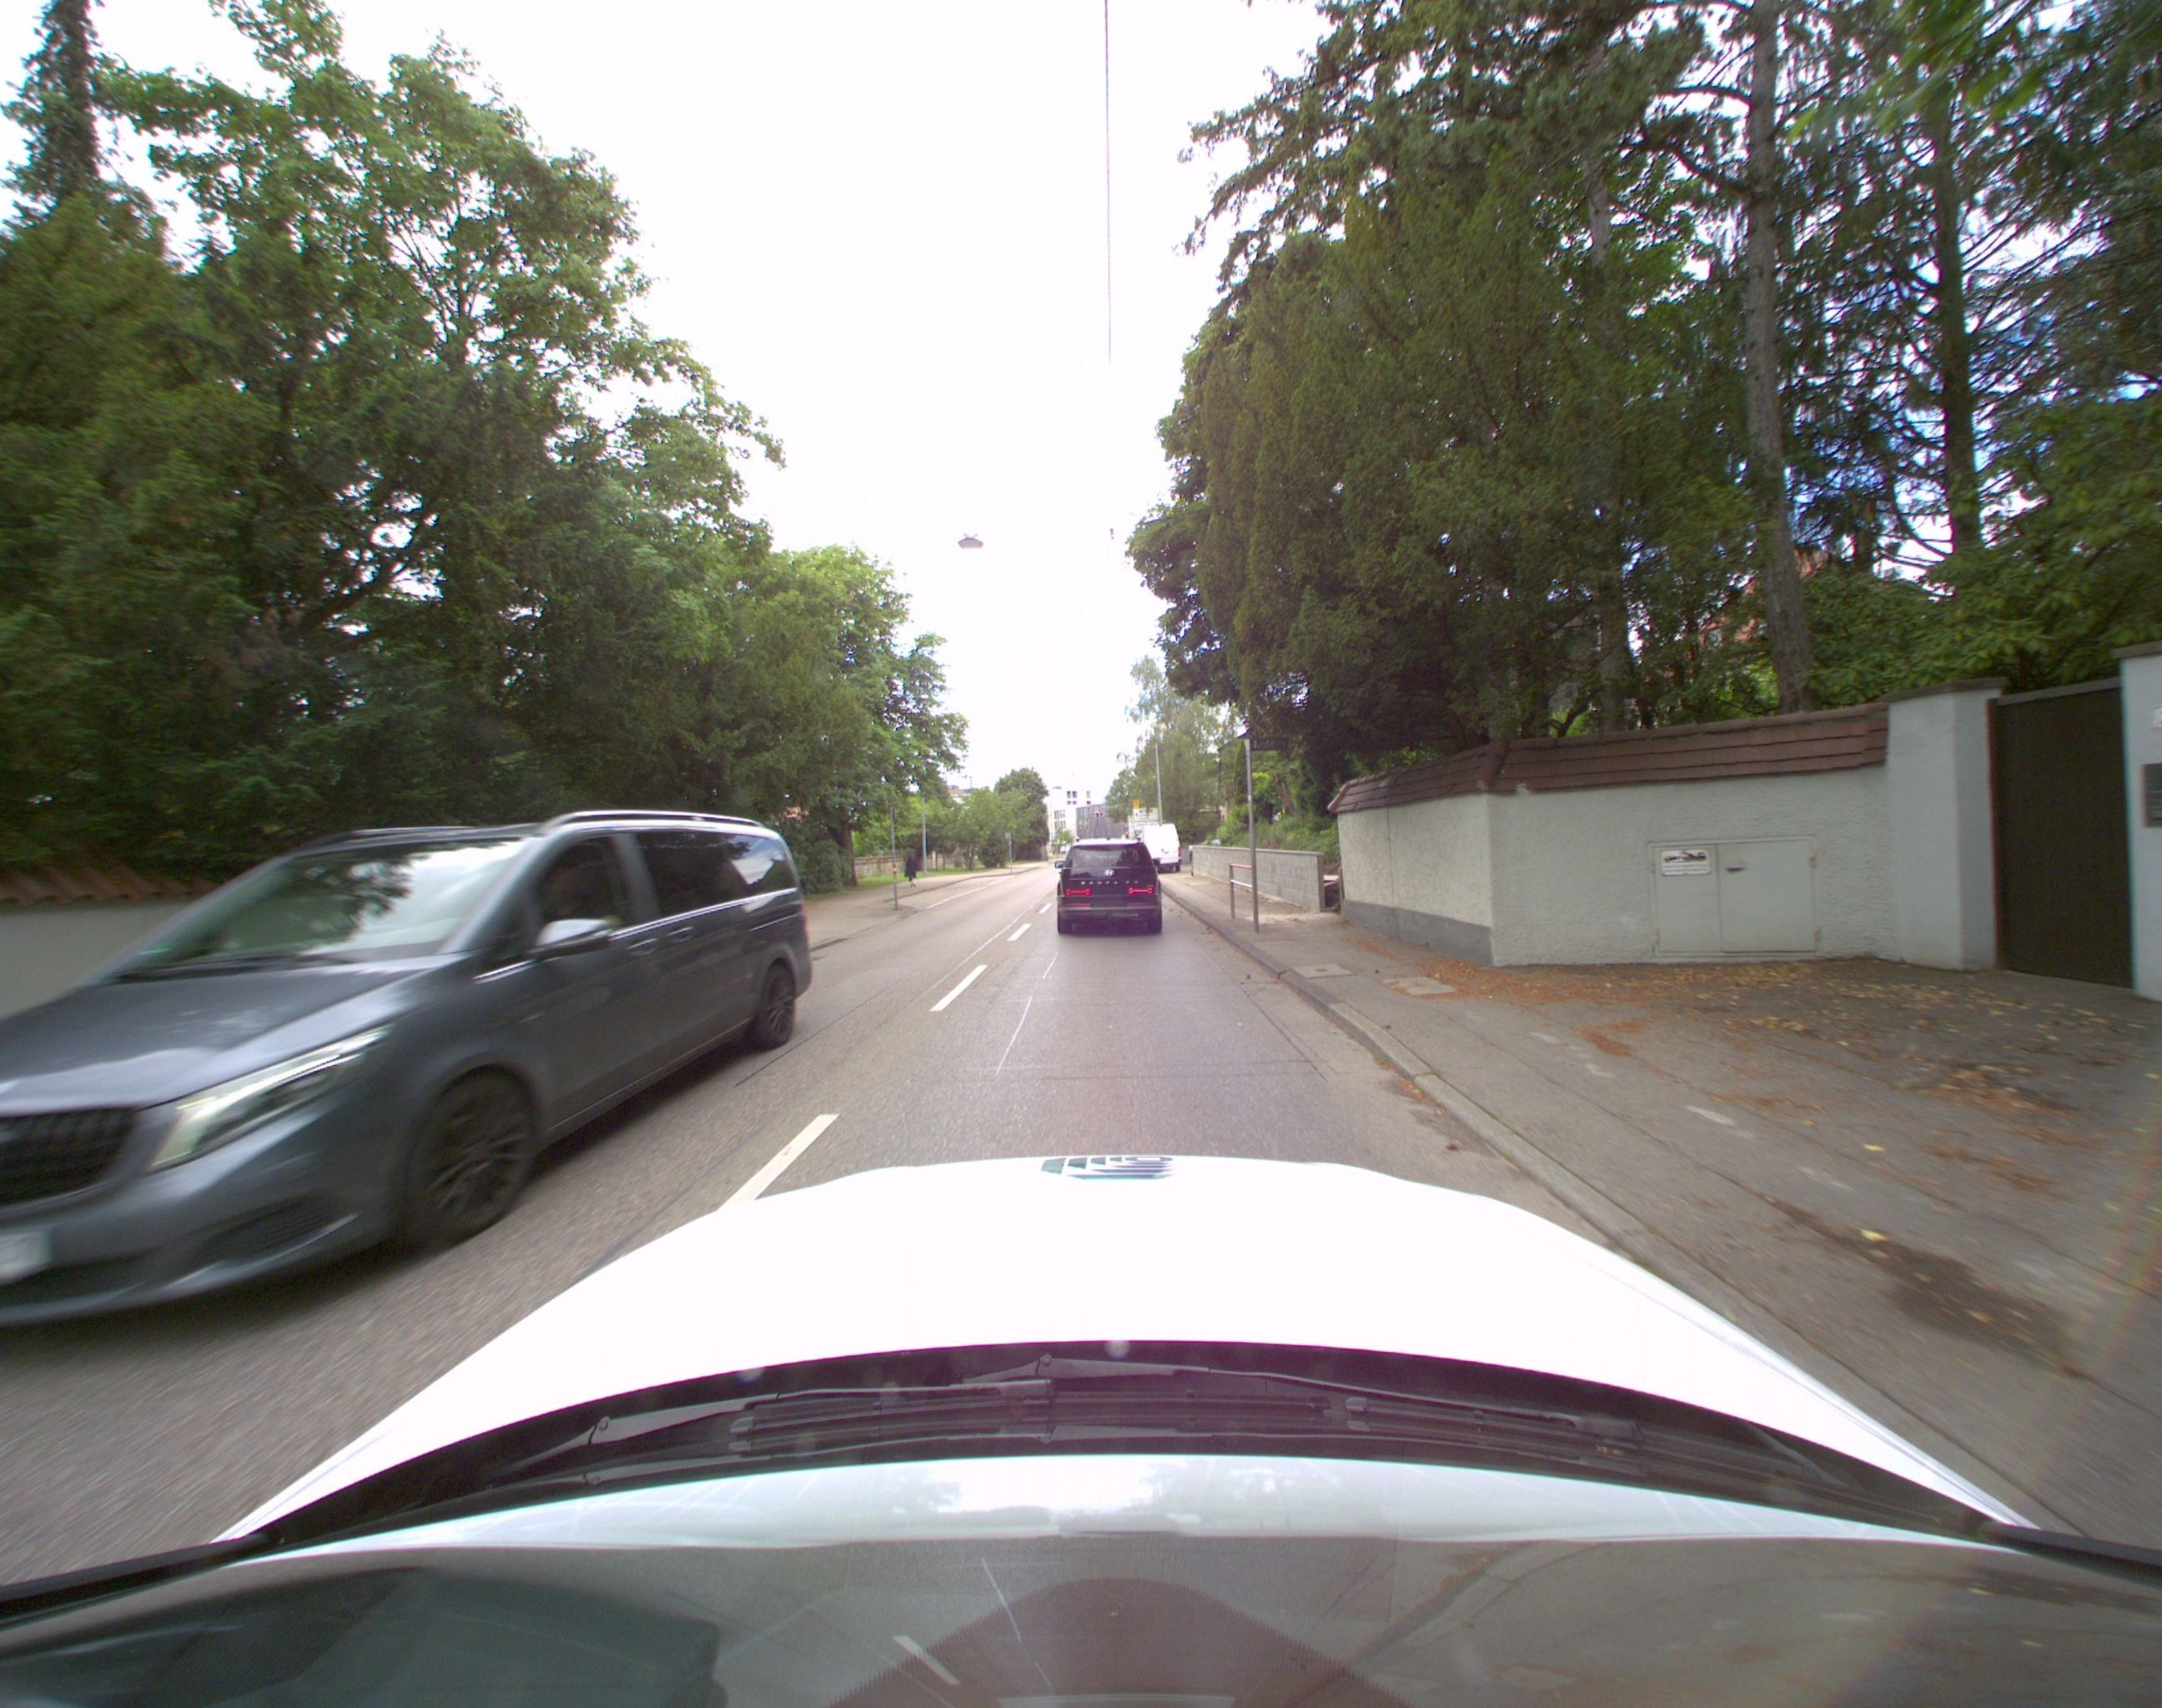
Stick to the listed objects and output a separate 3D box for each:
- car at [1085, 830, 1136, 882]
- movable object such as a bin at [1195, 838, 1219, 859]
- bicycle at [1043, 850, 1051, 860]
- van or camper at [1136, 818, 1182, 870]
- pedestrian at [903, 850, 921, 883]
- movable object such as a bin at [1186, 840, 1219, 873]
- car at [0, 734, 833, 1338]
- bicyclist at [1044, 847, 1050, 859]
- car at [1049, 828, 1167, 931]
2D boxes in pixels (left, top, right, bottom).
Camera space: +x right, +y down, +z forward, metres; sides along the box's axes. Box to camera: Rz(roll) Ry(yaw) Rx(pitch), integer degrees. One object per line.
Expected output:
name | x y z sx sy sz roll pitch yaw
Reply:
car | 1.181 0.054 33.337 1.957 2.001 4.001 -1 1 1
movable object such as a bin | 9.202 -0.418 59.552 1.446 1.473 1.715 -1 0 -4
bicycle | -4.472 0.091 108.297 0.675 1.279 2.490 0 -1 -12
van or camper | 4.384 -0.572 46.624 1.957 2.627 6.360 -4 0 1
pedestrian | -8.226 0.605 39.691 0.747 1.578 0.965 -1 0 -5
movable object such as a bin | 5.609 0.117 37.722 1.295 1.450 1.181 -3 0 2
car | -3.418 0.609 5.171 1.884 1.855 5.084 -6 0 1
bicyclist | -4.480 -0.128 108.329 0.675 1.659 0.855 0 -1 -12
car | 0.530 0.416 15.778 1.956 1.711 4.002 -1 1 2
